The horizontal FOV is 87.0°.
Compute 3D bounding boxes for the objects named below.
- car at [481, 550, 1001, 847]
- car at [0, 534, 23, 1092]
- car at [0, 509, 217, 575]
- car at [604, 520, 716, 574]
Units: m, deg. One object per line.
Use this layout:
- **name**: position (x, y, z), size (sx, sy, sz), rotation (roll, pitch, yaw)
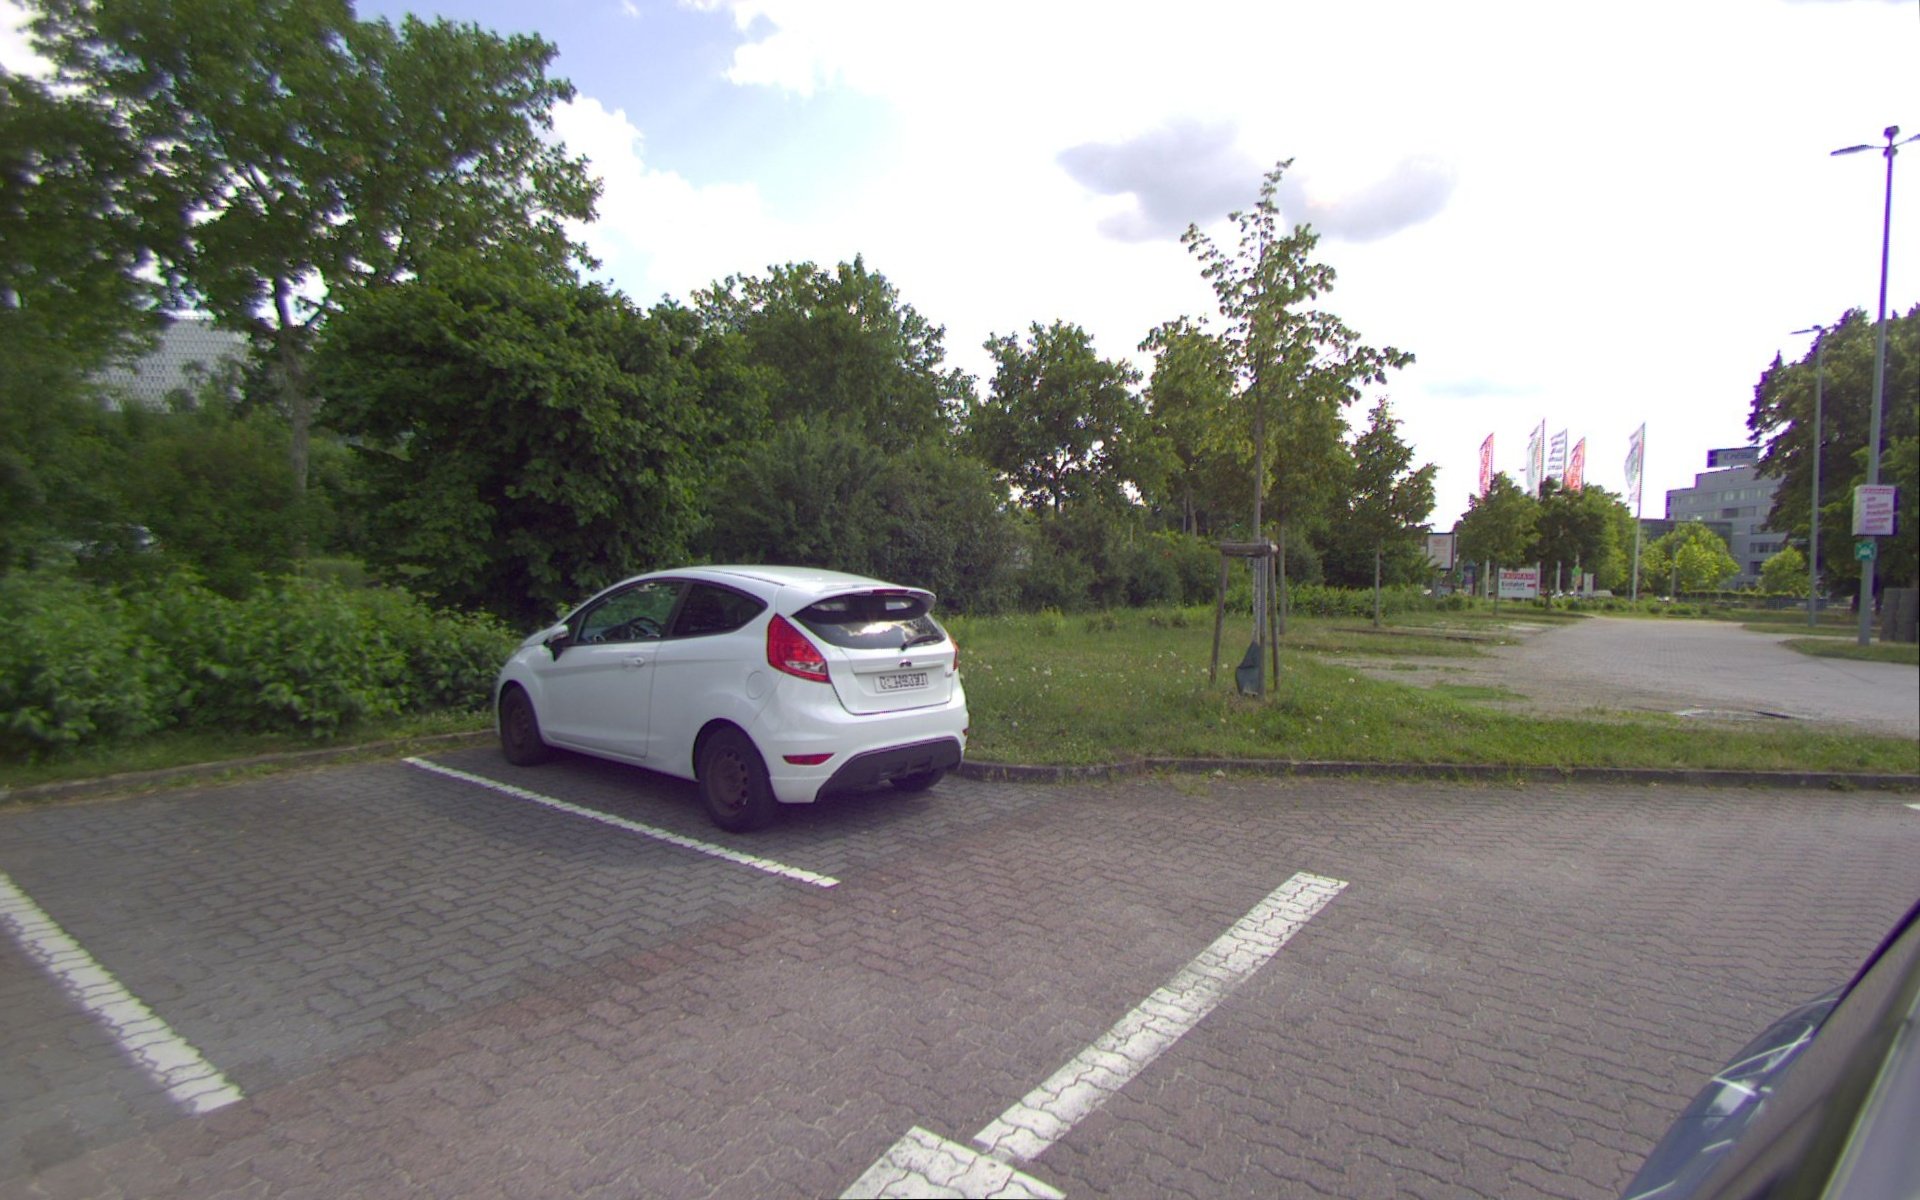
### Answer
- **car**: position (-1.624, 0.427, 6.856), size (3.543, 1.429, 1.646), rotation (4, 3, 41)
- **car**: position (-4.603, 0.457, 3.167), size (4.218, 1.427, 1.711), rotation (3, 3, 36)
- **car**: position (-22.270, -1.508, 26.505), size (1.839, 1.567, 4.131), rotation (0, 3, 34)
- **car**: position (-12.013, -2.100, 40.754), size (1.988, 2.038, 3.949), rotation (3, 3, 35)
